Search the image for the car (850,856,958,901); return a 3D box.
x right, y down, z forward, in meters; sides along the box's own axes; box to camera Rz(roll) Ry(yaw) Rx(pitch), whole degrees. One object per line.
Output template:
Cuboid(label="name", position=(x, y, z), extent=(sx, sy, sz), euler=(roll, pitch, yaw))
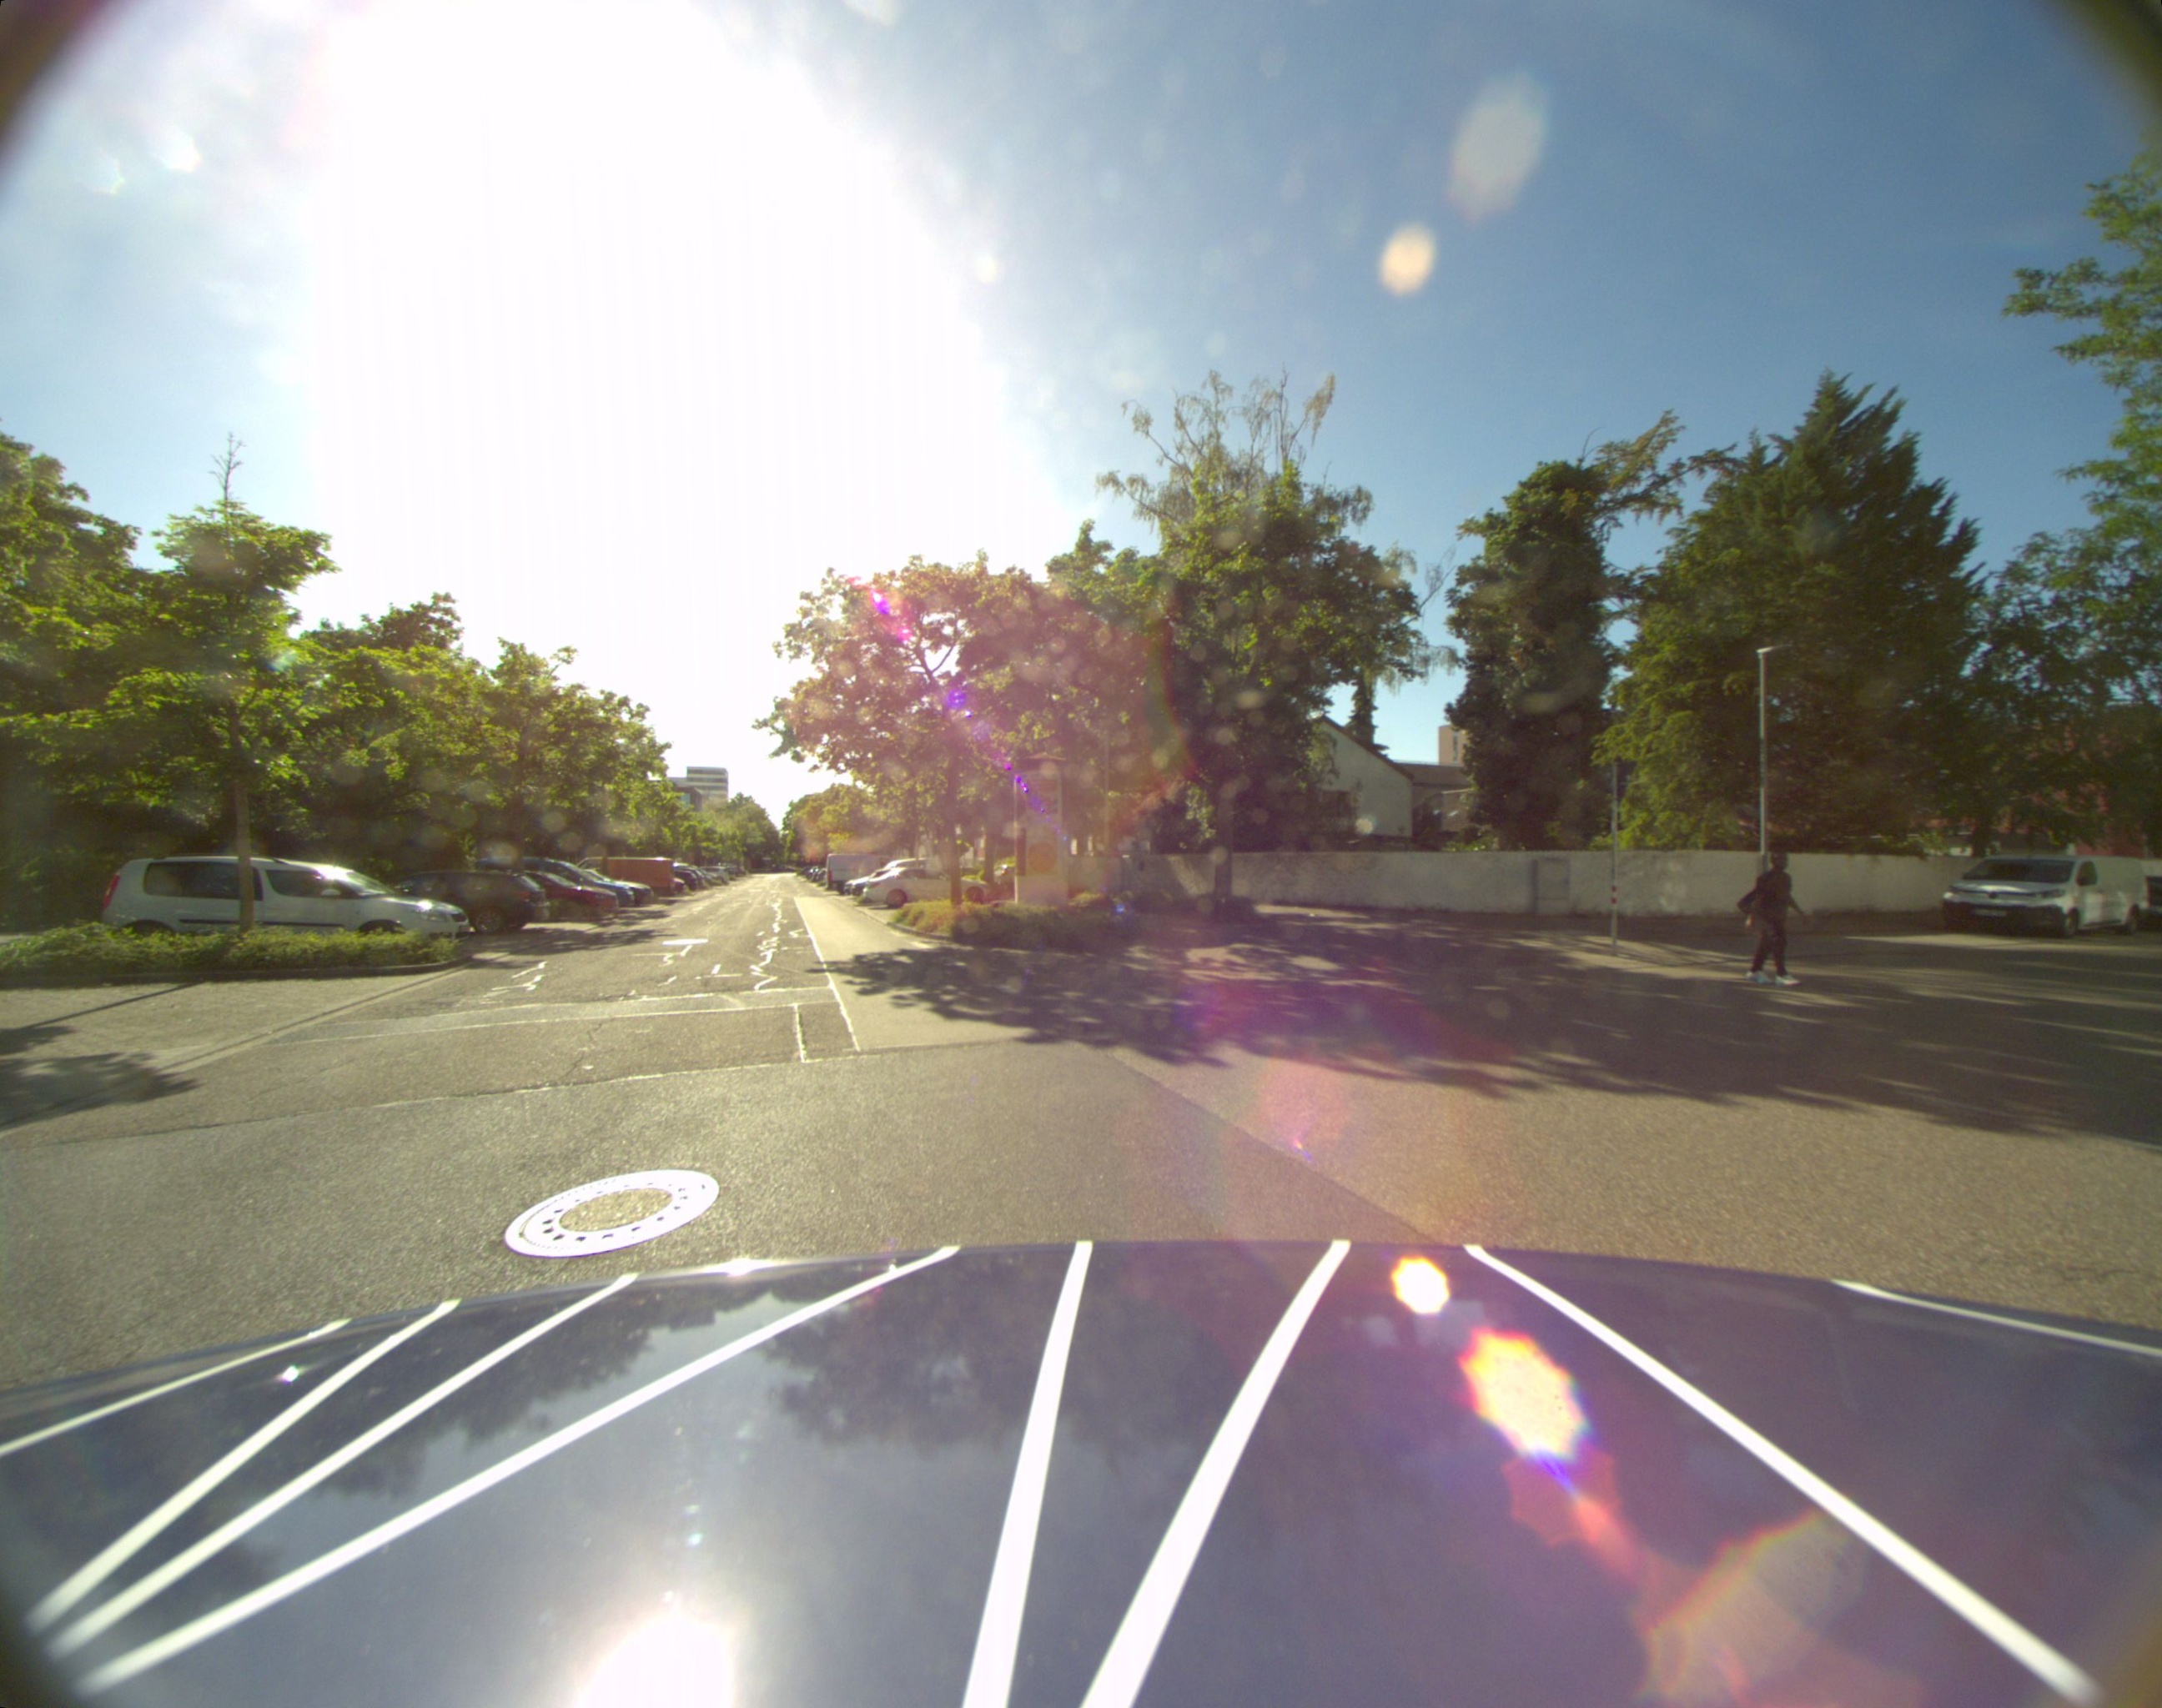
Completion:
Cuboid(label="car", position=(-8.311, 1.128, 35.665), extent=(4.641, 1.979, 1.997), euler=(0, -1, -22))

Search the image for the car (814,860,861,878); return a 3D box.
Cuboid(label="car", position=(-25.481, 1.567, 79.552), extent=(4.571, 1.819, 1.997), euler=(0, -1, -22))

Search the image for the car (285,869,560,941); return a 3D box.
Cuboid(label="car", position=(-14.172, 1.084, 16.690), extent=(4.173, 1.397, 1.825), euler=(2, 0, -23))

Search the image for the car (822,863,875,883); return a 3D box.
Cuboid(label="car", position=(-21.523, 1.782, 70.273), extent=(4.571, 1.819, 1.997), euler=(0, -1, -22))

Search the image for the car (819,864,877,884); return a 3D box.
Cuboid(label="car", position=(-19.592, 1.686, 63.884), extent=(4.571, 1.590, 1.997), euler=(0, -1, -22))

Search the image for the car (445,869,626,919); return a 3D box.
Cuboid(label="car", position=(-16.527, 1.213, 23.295), extent=(4.173, 1.397, 1.825), euler=(2, 0, -23))

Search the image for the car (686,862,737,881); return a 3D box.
Cuboid(label="car", position=(-35.442, 1.676, 72.914), extent=(4.266, 1.705, 1.970), euler=(2, 0, -23))

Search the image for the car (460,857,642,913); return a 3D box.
Cuboid(label="car", position=(-17.542, 1.031, 25.431), extent=(4.671, 1.762, 1.825), euler=(2, 0, -23))

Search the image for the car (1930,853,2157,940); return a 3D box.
Cuboid(label="car", position=(23.402, 0.959, 18.481), extent=(5.153, 1.903, 1.901), euler=(0, 1, -20))

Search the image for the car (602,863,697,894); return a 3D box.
Cuboid(label="car", position=(-23.287, 1.348, 41.217), extent=(4.266, 1.562, 1.970), euler=(2, 0, -23))

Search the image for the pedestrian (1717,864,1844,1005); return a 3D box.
Cuboid(label="pedestrian", position=(8.741, 0.971, 9.523), extent=(0.838, 1.674, 0.807), euler=(1, 0, -8))

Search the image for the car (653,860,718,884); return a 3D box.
Cuboid(label="car", position=(-30.640, 1.396, 58.988), extent=(4.266, 1.705, 1.970), euler=(2, 0, -23))

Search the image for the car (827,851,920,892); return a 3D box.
Cuboid(label="car", position=(-12.396, 1.048, 45.363), extent=(5.141, 2.364, 1.997), euler=(0, -1, -22))

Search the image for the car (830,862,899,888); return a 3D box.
Cuboid(label="car", position=(-15.547, 1.496, 54.449), extent=(4.571, 1.819, 1.997), euler=(0, -1, -22))

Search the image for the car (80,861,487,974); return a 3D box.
Cuboid(label="car", position=(-12.578, 0.958, 12.401), extent=(4.173, 1.588, 1.825), euler=(1, 0, -23))

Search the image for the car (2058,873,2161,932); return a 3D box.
Cuboid(label="car", position=(28.812, 1.264, 20.480), extent=(4.287, 1.415, 1.828), euler=(0, 1, -20))

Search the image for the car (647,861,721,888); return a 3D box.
Cuboid(label="car", position=(-26.686, 1.380, 51.265), extent=(4.266, 1.743, 1.970), euler=(2, 0, -23))

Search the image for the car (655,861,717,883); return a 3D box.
Cuboid(label="car", position=(-31.873, 1.449, 61.431), extent=(4.266, 1.705, 1.970), euler=(2, 0, -23))

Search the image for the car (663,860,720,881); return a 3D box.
Cuboid(label="car", position=(-33.600, 1.455, 65.669), extent=(4.266, 1.705, 1.970), euler=(2, 0, -23))

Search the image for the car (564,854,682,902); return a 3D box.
Cuboid(label="car", position=(-20.527, 1.089, 34.272), extent=(4.266, 2.020, 1.970), euler=(2, 0, -23))

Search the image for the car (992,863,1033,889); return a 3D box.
Cuboid(label="car", position=(-4.578, 1.438, 50.191), extent=(1.837, 1.604, 4.137), euler=(2, 0, -17))

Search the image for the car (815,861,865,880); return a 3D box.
Cuboid(label="car", position=(-23.931, 1.650, 75.429), extent=(4.571, 1.819, 1.997), euler=(0, -1, -22))

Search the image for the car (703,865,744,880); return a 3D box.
Cuboid(label="car", position=(-42.787, 2.203, 91.076), extent=(4.266, 1.705, 1.970), euler=(2, 0, -23))

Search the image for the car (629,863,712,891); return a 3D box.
Cuboid(label="car", position=(-25.011, 1.410, 46.485), extent=(4.266, 1.604, 1.970), euler=(2, 0, -23))

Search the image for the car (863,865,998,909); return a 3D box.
Cuboid(label="car", position=(-5.655, 1.195, 28.493), extent=(4.692, 1.398, 1.826), euler=(-2, 1, -20))

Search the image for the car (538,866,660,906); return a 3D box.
Cuboid(label="car", position=(-18.946, 1.251, 30.047), extent=(3.792, 1.465, 1.765), euler=(2, 0, -23))
